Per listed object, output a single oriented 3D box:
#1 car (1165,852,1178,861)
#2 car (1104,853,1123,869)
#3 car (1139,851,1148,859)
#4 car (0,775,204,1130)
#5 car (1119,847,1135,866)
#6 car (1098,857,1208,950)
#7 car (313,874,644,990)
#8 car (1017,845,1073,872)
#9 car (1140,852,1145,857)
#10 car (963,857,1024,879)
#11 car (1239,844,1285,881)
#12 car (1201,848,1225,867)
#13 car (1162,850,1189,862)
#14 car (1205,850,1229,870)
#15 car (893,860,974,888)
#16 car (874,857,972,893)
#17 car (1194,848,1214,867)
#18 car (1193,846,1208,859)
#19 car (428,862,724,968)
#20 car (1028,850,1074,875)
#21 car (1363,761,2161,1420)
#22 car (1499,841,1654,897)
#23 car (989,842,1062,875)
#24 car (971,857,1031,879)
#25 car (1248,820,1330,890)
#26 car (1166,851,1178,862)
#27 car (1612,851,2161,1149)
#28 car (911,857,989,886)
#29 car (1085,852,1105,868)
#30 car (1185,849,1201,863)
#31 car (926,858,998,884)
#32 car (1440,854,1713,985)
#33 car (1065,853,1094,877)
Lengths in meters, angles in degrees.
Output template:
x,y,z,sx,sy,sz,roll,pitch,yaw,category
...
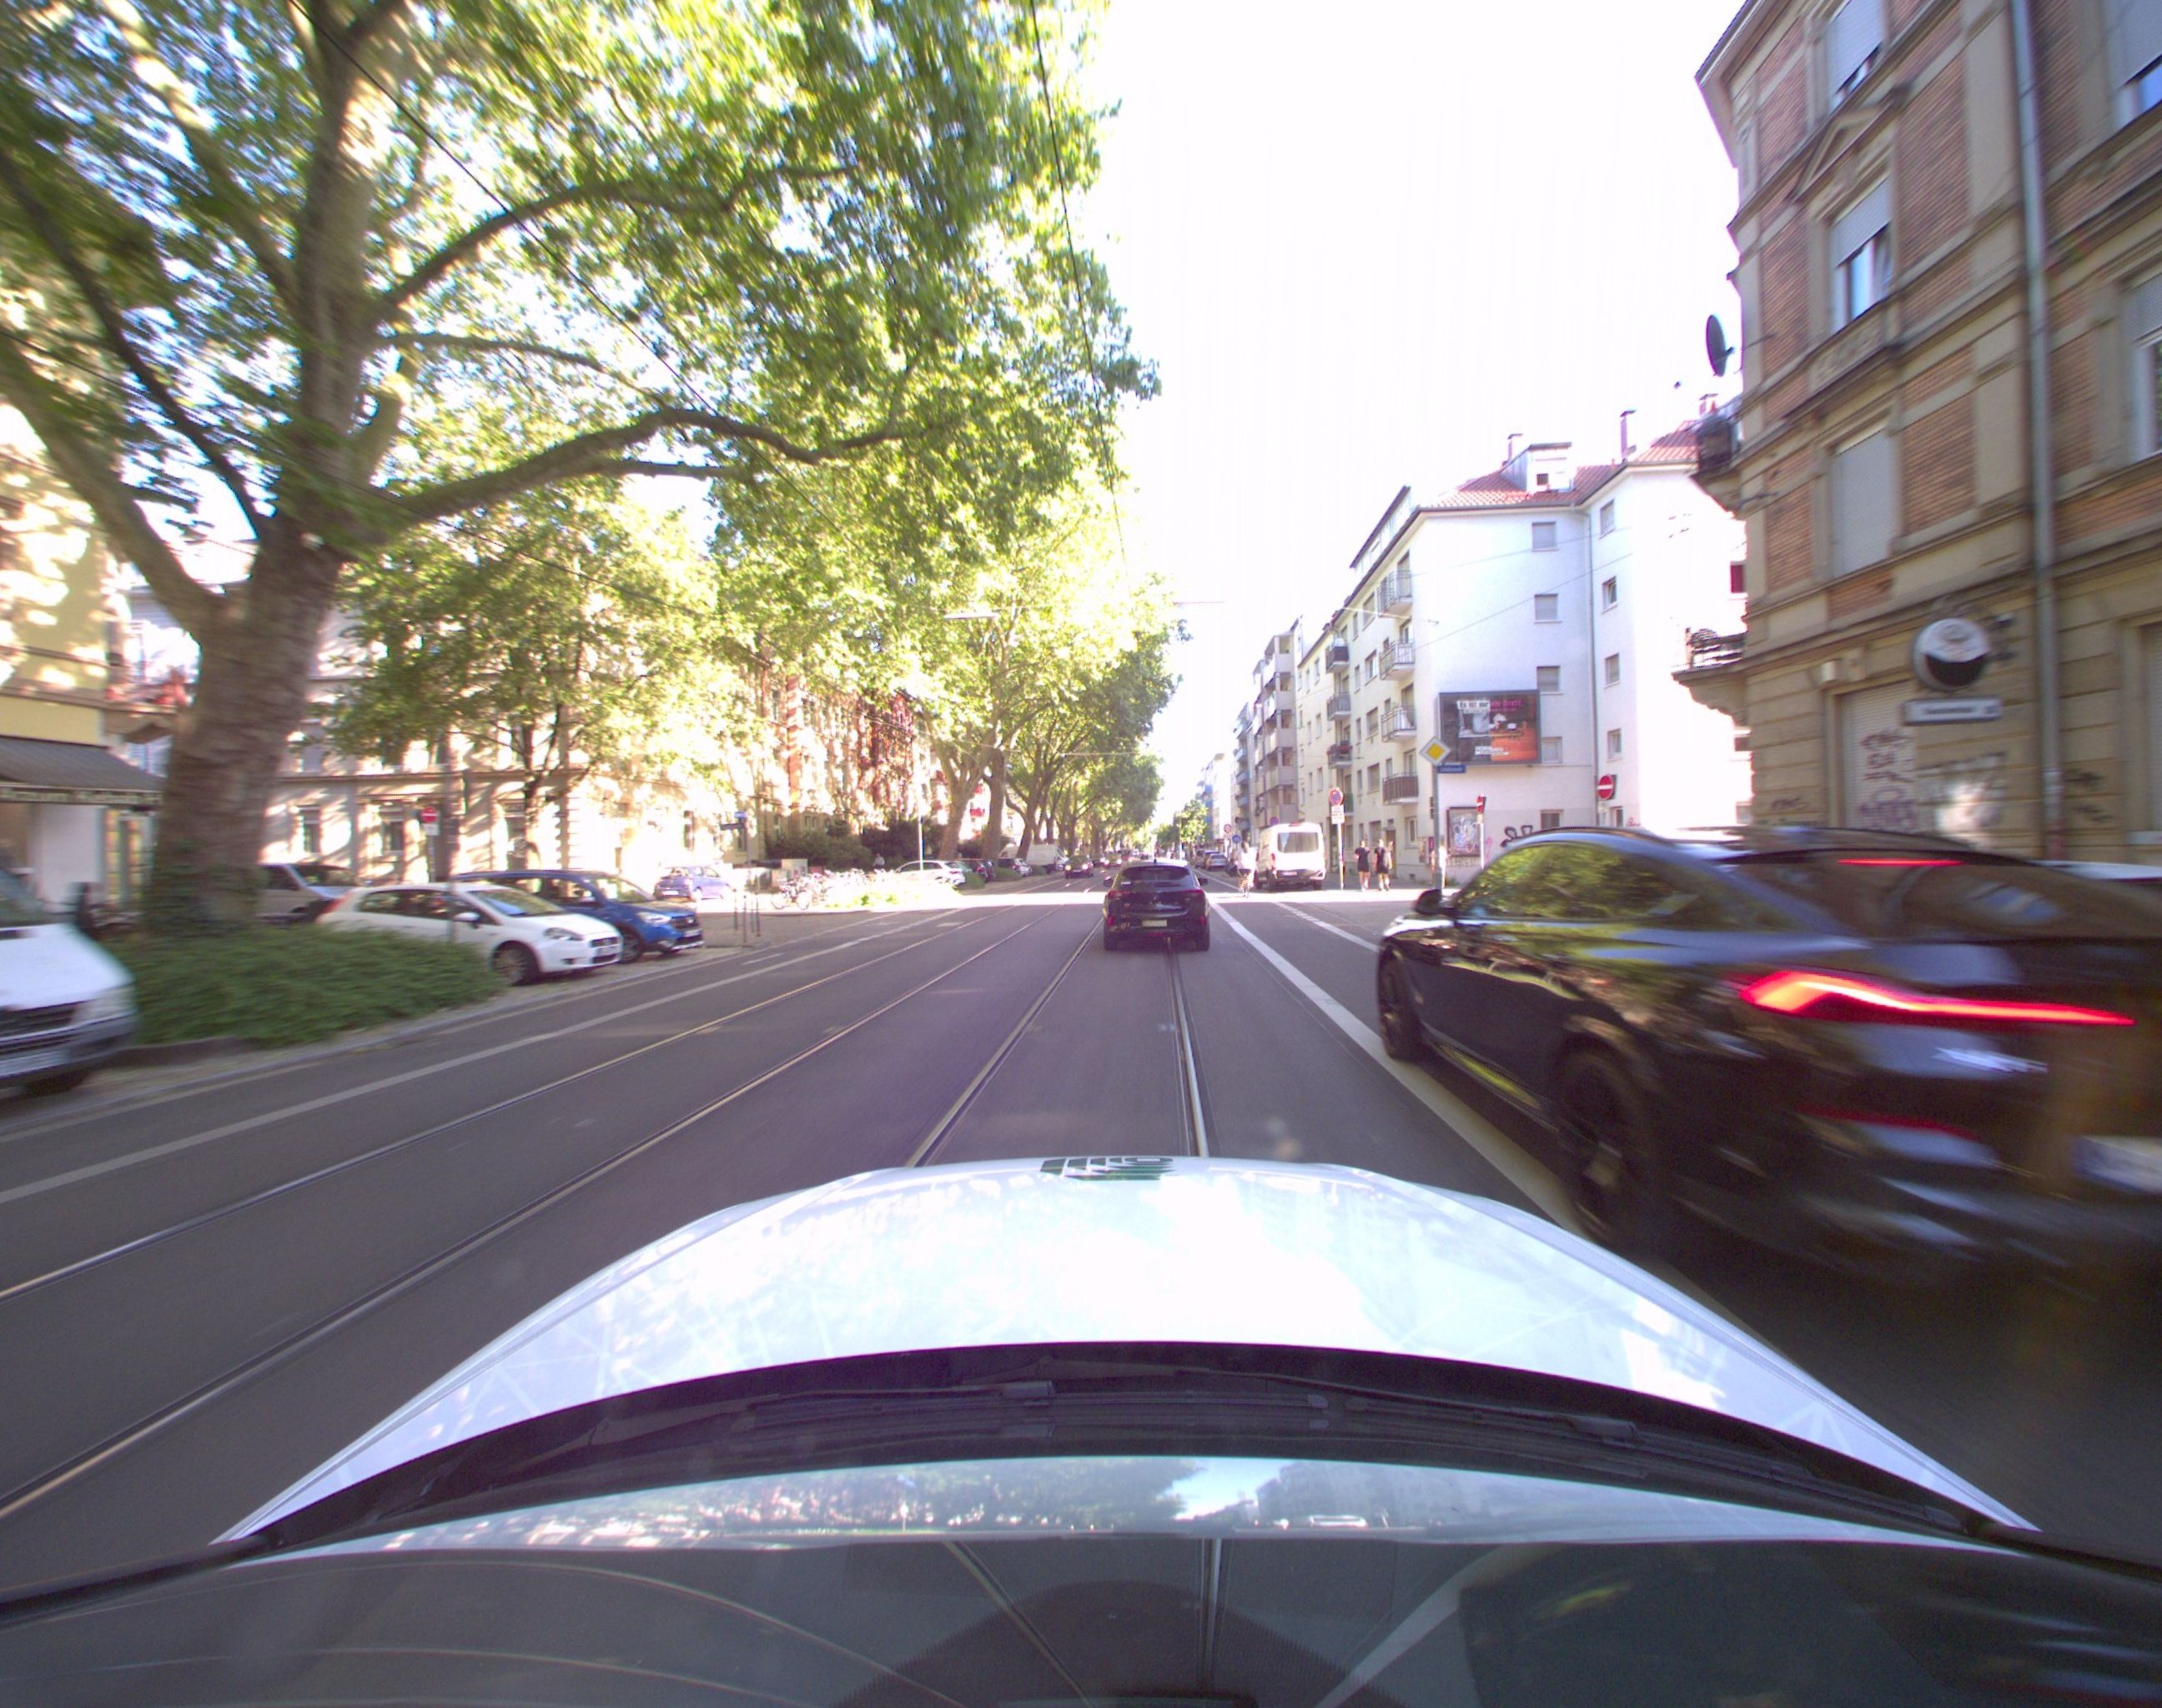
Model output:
x,y,z,sx,sy,sz,roll,pitch,yaw,category
17.456,0.478,157.271,1.986,1.640,4.001,-2,0,1,car
3.288,0.689,81.808,1.711,1.510,3.726,-2,0,3,car
13.781,0.240,178.314,1.741,1.651,4.007,-2,0,7,car
-10.578,0.645,5.960,6.570,2.407,2.003,0,0,5,car
5.628,0.262,100.081,1.909,2.227,4.964,-2,0,3,car
1.250,0.764,14.281,1.672,1.422,3.632,0,0,4,car
-9.107,1.140,12.540,3.755,1.518,1.749,-2,0,1,car
-3.594,0.453,82.224,5.334,2.477,2.060,-2,0,5,car
17.999,0.259,237.989,1.672,1.422,3.632,0,0,4,car
-5.931,0.948,55.467,3.775,1.460,1.707,-1,0,5,car
9.508,0.435,43.032,1.849,1.820,4.358,-2,0,6,car
12.059,0.321,74.497,1.759,1.705,4.288,-2,0,4,car
14.152,0.332,122.590,3.968,1.651,1.867,-2,0,4,car
11.336,0.472,67.871,1.715,1.525,4.521,-2,0,7,car
-7.948,1.068,44.072,3.966,1.369,1.608,-2,0,6,car
-7.128,0.960,37.004,3.969,1.460,1.881,-2,-1,4,car
12.539,0.343,83.241,1.849,1.890,4.933,-2,0,7,car
15.825,-0.250,107.839,1.849,1.651,4.007,-2,0,7,car
-9.218,1.077,15.113,4.303,1.712,1.817,-2,0,1,car
-3.271,0.926,90.997,4.925,2.567,2.083,-2,0,1,car
3.090,0.609,4.410,1.934,1.704,4.638,-1,0,6,car
14.980,0.453,24.827,3.627,1.574,1.795,-1,0,10,car
-4.609,0.367,67.611,5.713,2.536,2.165,-1,0,5,car
-5.711,0.991,58.315,3.967,1.496,1.833,-2,0,5,car
8.200,0.037,32.748,2.139,2.495,6.096,-1,0,5,car
14.278,0.358,128.140,1.849,1.651,4.007,-2,0,7,car
5.963,0.744,6.076,1.594,1.420,4.019,-3,-1,5,car
-7.394,0.980,46.275,3.966,1.460,1.773,-2,0,6,car
1.729,0.681,97.327,1.984,1.700,4.490,-3,0,5,car
13.766,0.255,100.321,1.849,1.651,4.007,-2,0,7,car
-7.132,1.002,49.029,3.966,1.460,1.707,-2,0,6,car
6.571,0.763,11.375,1.640,1.420,4.067,-3,-1,6,car
-0.065,0.717,54.631,1.628,1.510,3.695,-2,0,3,car
